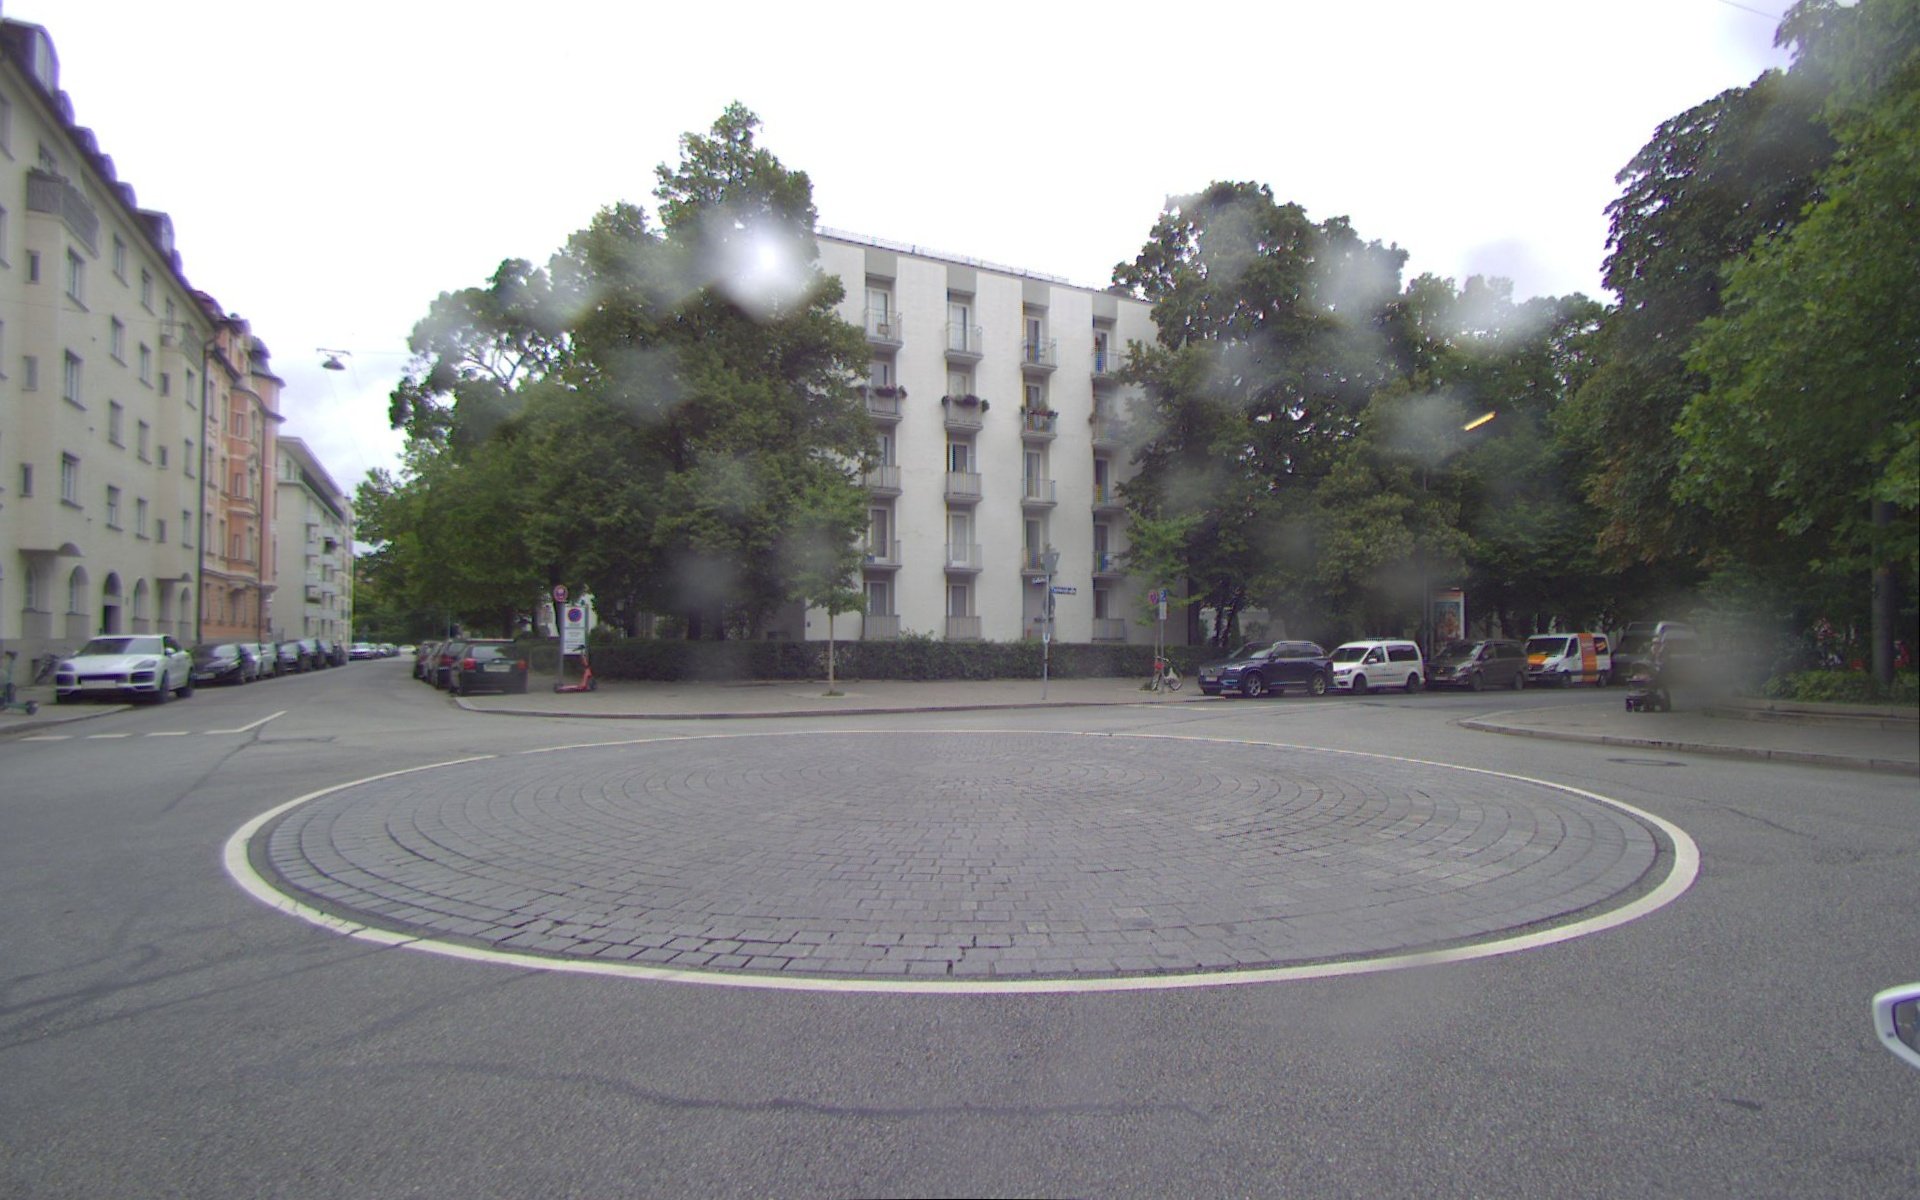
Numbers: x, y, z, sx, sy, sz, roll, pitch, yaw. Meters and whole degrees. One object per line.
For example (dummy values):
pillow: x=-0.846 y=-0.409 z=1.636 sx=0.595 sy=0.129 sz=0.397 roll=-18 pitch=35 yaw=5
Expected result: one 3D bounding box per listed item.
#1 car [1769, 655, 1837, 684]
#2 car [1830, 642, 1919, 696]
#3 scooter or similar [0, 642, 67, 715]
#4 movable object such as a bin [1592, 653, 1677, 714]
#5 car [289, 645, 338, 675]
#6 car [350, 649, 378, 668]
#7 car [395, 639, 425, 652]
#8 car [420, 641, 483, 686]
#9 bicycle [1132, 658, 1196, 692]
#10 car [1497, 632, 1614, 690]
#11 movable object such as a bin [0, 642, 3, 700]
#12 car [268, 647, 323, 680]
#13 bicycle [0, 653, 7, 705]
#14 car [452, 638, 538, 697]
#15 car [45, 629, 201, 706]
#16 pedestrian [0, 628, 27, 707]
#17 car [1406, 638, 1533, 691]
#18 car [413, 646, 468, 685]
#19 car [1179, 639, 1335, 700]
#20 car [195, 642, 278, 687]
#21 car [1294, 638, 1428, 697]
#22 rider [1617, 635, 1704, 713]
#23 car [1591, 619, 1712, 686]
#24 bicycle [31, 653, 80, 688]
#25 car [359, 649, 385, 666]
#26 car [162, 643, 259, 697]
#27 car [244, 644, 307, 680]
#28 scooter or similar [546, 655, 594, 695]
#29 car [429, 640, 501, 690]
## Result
car: x=48.904 y=4.023 z=58.265 sx=4.030 sy=1.592 sz=1.885 roll=2 pitch=-3 yaw=-33
car: x=35.217 y=2.581 z=38.459 sx=4.406 sy=1.947 sz=2.026 roll=2 pitch=-3 yaw=-38
scooter or similar: x=-18.743 y=1.550 z=20.046 sx=1.329 sy=1.413 sz=0.709 roll=0 pitch=-2 yaw=13
movable object such as a bin: x=14.909 y=1.846 z=22.222 sx=1.070 sy=1.283 sz=1.078 roll=1 pitch=-5 yaw=-19
car: x=-37.178 y=3.419 z=57.888 sx=1.975 sy=1.616 sz=4.182 roll=2 pitch=-3 yaw=-28
car: x=-53.944 y=5.295 z=90.982 sx=1.975 sy=1.616 sz=4.182 roll=2 pitch=-3 yaw=-28
car: x=-86.271 y=7.151 z=157.662 sx=3.948 sy=2.040 sz=1.987 roll=1 pitch=-3 yaw=-26
car: x=-18.686 y=2.298 z=36.832 sx=1.756 sy=1.538 sz=4.002 roll=2 pitch=-3 yaw=-31
bicycle: x=6.663 y=2.451 z=32.785 sx=1.949 sy=1.065 sz=0.906 roll=2 pitch=-3 yaw=-31
car: x=25.177 y=2.557 z=42.414 sx=5.137 sy=2.280 sz=2.100 roll=2 pitch=-3 yaw=-32
movable object such as a bin: x=-24.747 y=1.779 z=24.742 sx=1.328 sy=1.476 sz=1.287 roll=1 pitch=-3 yaw=-27
car: x=-34.750 y=3.306 z=52.641 sx=1.975 sy=1.616 sz=4.182 roll=2 pitch=-3 yaw=-28
bicycle: x=-21.351 y=1.739 z=21.749 sx=0.544 sy=1.165 sz=1.831 roll=1 pitch=-3 yaw=-29
car: x=-13.244 y=1.872 z=28.489 sx=1.756 sy=1.538 sz=4.002 roll=2 pitch=-3 yaw=-31
car: x=-20.607 y=1.623 z=24.981 sx=1.975 sy=1.713 sz=4.776 roll=2 pitch=-3 yaw=-28
pedestrian: x=-22.794 y=1.572 z=23.440 sx=1.118 sy=1.828 sz=1.263 roll=1 pitch=-2 yaw=-27
car: x=19.404 y=2.425 z=38.183 sx=4.931 sy=1.883 sz=2.054 roll=2 pitch=-3 yaw=-32
car: x=-21.522 y=2.674 z=41.548 sx=1.756 sy=1.538 sz=4.002 roll=2 pitch=-3 yaw=-31
car: x=9.395 y=2.154 z=31.653 sx=4.852 sy=1.790 sz=2.054 roll=2 pitch=-3 yaw=-32
car: x=-27.636 y=2.419 z=38.503 sx=1.975 sy=1.616 sz=4.182 roll=2 pitch=-3 yaw=-28
car: x=13.866 y=2.295 z=34.656 sx=4.815 sy=1.919 sz=1.915 roll=2 pitch=-3 yaw=-33
rider: x=15.671 y=1.659 z=22.498 sx=1.122 sy=1.689 sz=1.082 roll=1 pitch=-5 yaw=-19
car: x=32.854 y=2.490 z=47.662 sx=6.505 sy=2.960 sz=2.323 roll=2 pitch=-3 yaw=-32
bicycle: x=-28.988 y=2.252 z=32.206 sx=0.616 sy=1.060 sz=2.200 roll=1 pitch=-3 yaw=-28
car: x=-58.263 y=5.712 z=99.619 sx=1.975 sy=1.616 sz=4.182 roll=2 pitch=-3 yaw=-28
car: x=-25.364 y=2.318 z=34.157 sx=1.975 sy=1.713 sz=4.182 roll=2 pitch=-3 yaw=-28
car: x=-32.302 y=2.910 z=47.516 sx=1.975 sy=1.616 sz=4.182 roll=2 pitch=-3 yaw=-28
scooter or similar: x=-10.469 y=2.011 z=26.965 sx=1.132 sy=1.039 sz=0.374 roll=2 pitch=-3 yaw=-41
car: x=-16.237 y=2.080 z=32.837 sx=1.756 sy=1.538 sz=4.002 roll=2 pitch=-3 yaw=-31
